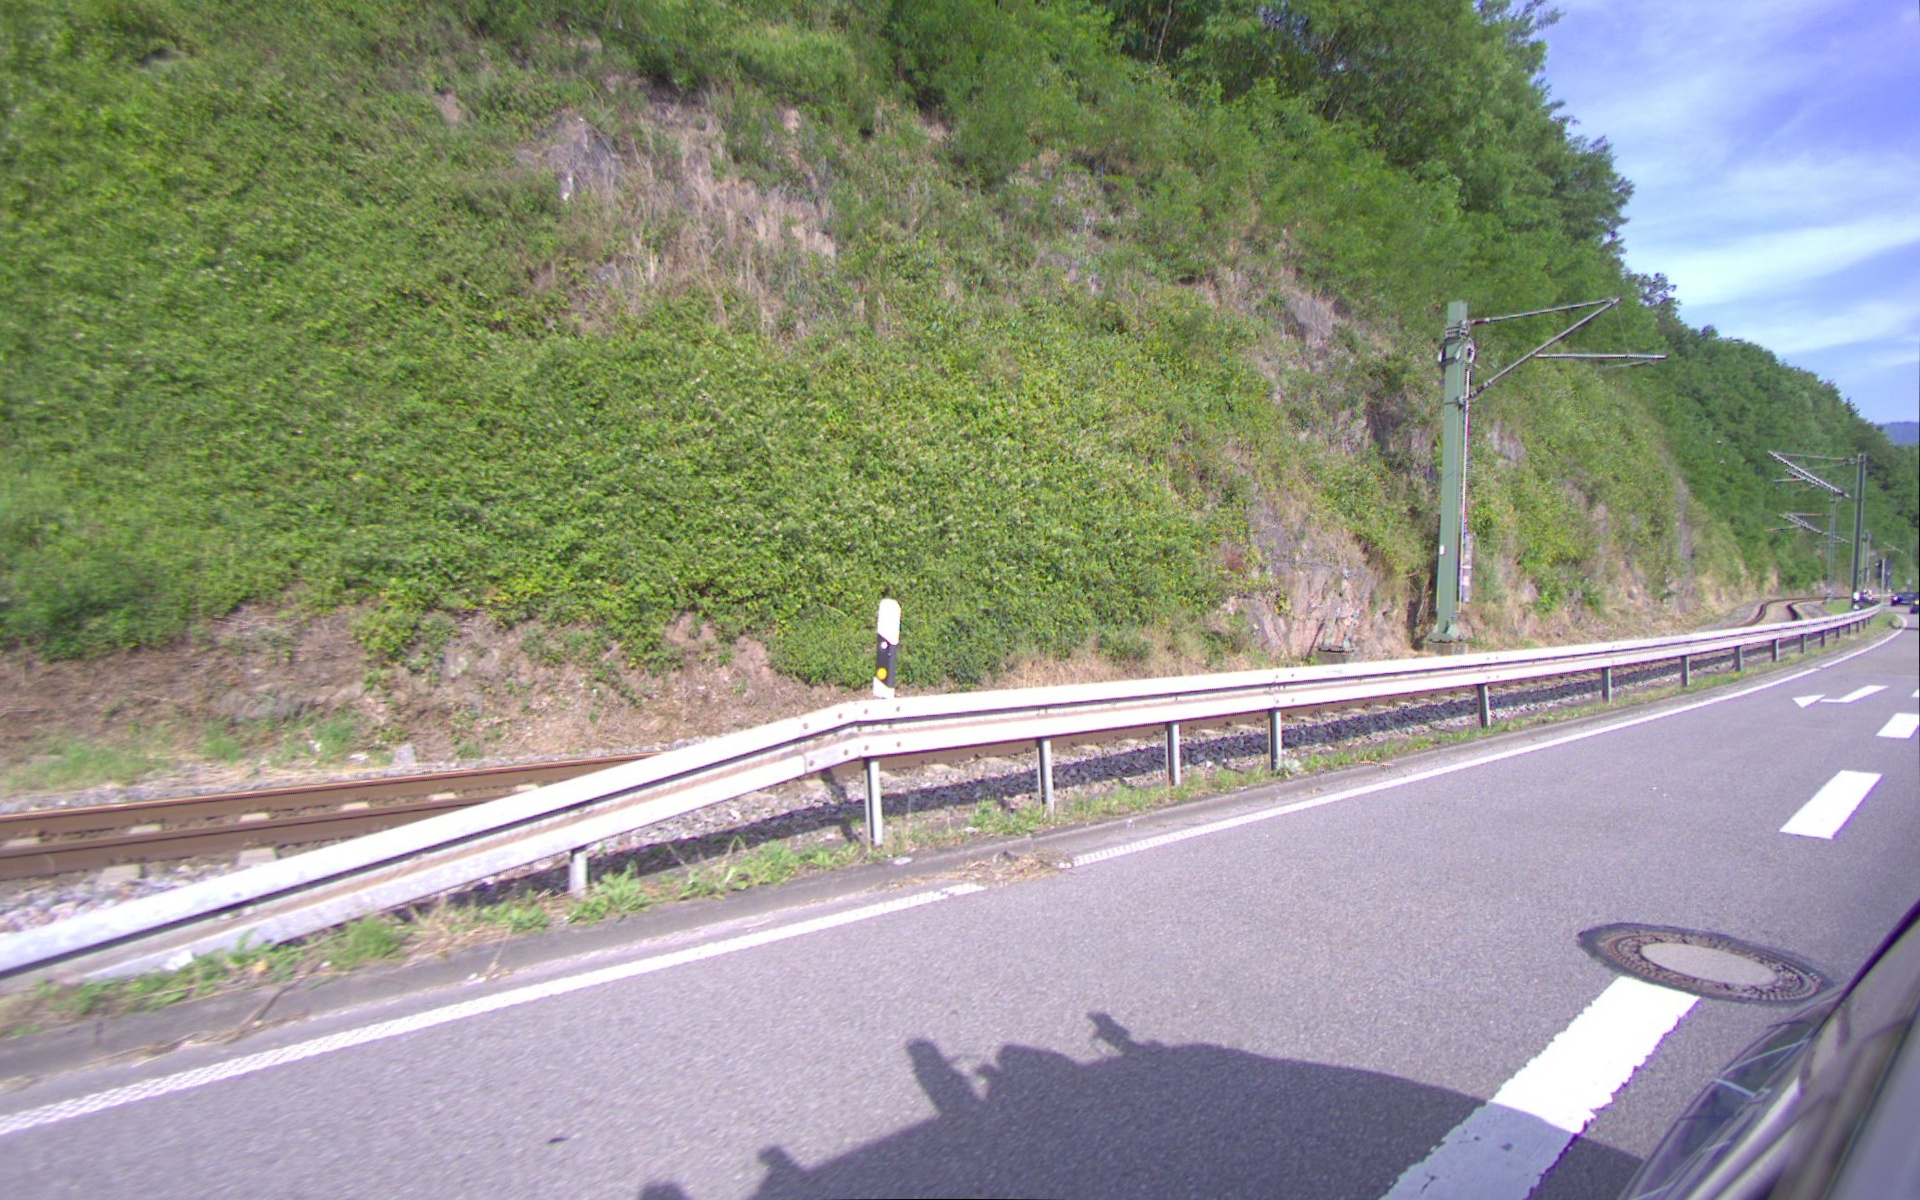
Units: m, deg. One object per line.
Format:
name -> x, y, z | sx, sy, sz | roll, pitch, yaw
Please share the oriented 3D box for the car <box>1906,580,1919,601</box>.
car -> 85.064, -0.848, 89.329 | 1.990, 1.816, 3.944 | 0, 2, 39
